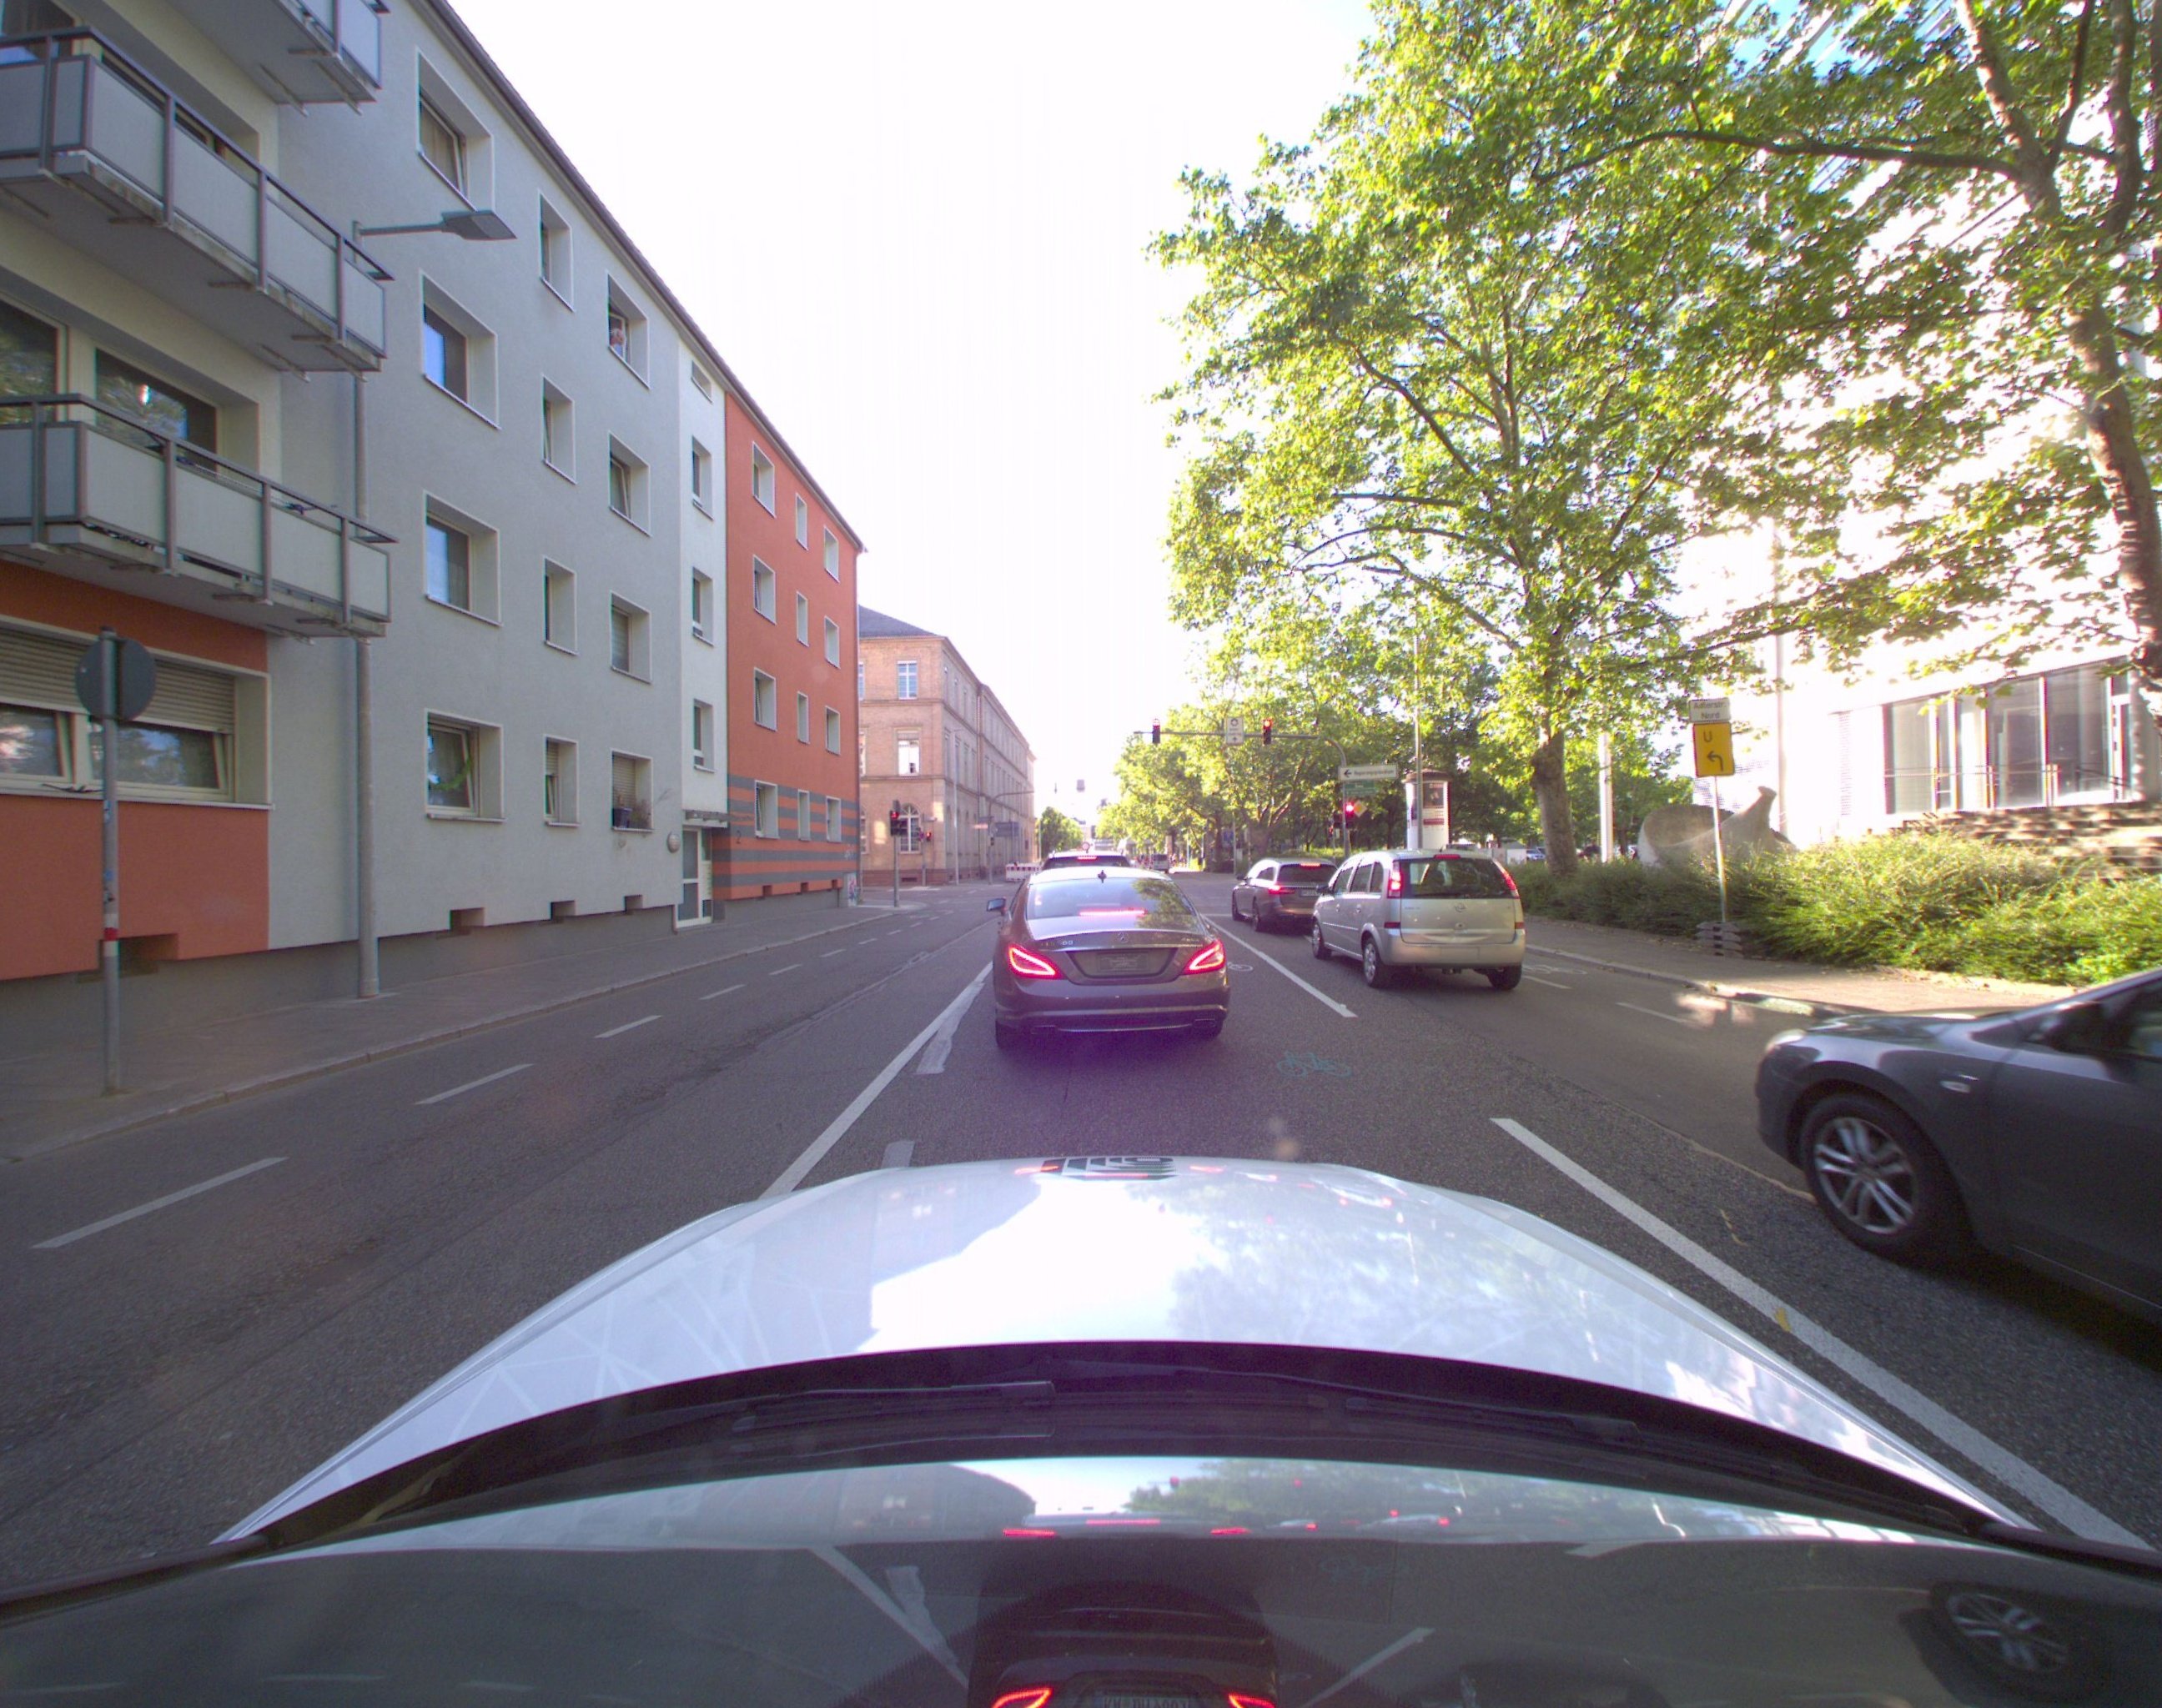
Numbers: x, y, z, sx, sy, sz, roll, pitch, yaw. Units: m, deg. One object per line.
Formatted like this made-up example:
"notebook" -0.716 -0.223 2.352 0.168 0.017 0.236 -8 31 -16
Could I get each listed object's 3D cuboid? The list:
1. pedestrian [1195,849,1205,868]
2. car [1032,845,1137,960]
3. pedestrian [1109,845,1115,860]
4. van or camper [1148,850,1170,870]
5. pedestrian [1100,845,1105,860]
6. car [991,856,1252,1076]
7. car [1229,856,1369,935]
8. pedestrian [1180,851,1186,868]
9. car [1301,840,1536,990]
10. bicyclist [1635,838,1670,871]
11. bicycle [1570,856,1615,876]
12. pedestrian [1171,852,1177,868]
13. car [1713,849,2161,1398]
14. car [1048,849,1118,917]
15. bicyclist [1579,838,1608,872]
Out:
"pedestrian" 10.397 0.386 71.113 0.827 1.606 0.652 -1 0 1
"car" 0.046 0.710 13.801 1.513 1.647 3.879 -1 0 0
"pedestrian" 4.202 -0.242 111.567 0.722 2.013 0.748 -1 0 -2
"van or camper" 7.697 0.564 80.504 1.985 1.941 4.597 -1 0 3
"pedestrian" 2.946 -0.230 111.957 0.722 2.013 0.748 -1 0 -2
"car" 0.099 0.766 7.786 1.801 1.456 4.342 -1 0 -5
"car" 4.474 0.767 17.469 1.905 1.464 4.671 0 0 2
"pedestrian" 11.136 0.583 89.198 0.601 1.821 0.652 -1 0 1
"car" 4.163 0.662 10.726 1.694 1.603 3.863 -1 0 4
"bicyclist" 26.267 0.022 37.446 1.113 1.490 0.712 -1 0 1
"bicycle" 24.480 0.580 38.981 1.791 0.946 0.613 -1 0 -5
"pedestrian" 10.227 0.662 89.376 0.601 1.821 0.652 -1 0 1
"car" 3.749 0.732 1.839 1.638 1.482 3.978 -1 0 2
"car" 0.124 0.767 23.381 1.813 1.762 4.002 -1 0 2
"bicyclist" 24.525 0.047 38.996 1.013 1.642 0.607 -1 0 -4
